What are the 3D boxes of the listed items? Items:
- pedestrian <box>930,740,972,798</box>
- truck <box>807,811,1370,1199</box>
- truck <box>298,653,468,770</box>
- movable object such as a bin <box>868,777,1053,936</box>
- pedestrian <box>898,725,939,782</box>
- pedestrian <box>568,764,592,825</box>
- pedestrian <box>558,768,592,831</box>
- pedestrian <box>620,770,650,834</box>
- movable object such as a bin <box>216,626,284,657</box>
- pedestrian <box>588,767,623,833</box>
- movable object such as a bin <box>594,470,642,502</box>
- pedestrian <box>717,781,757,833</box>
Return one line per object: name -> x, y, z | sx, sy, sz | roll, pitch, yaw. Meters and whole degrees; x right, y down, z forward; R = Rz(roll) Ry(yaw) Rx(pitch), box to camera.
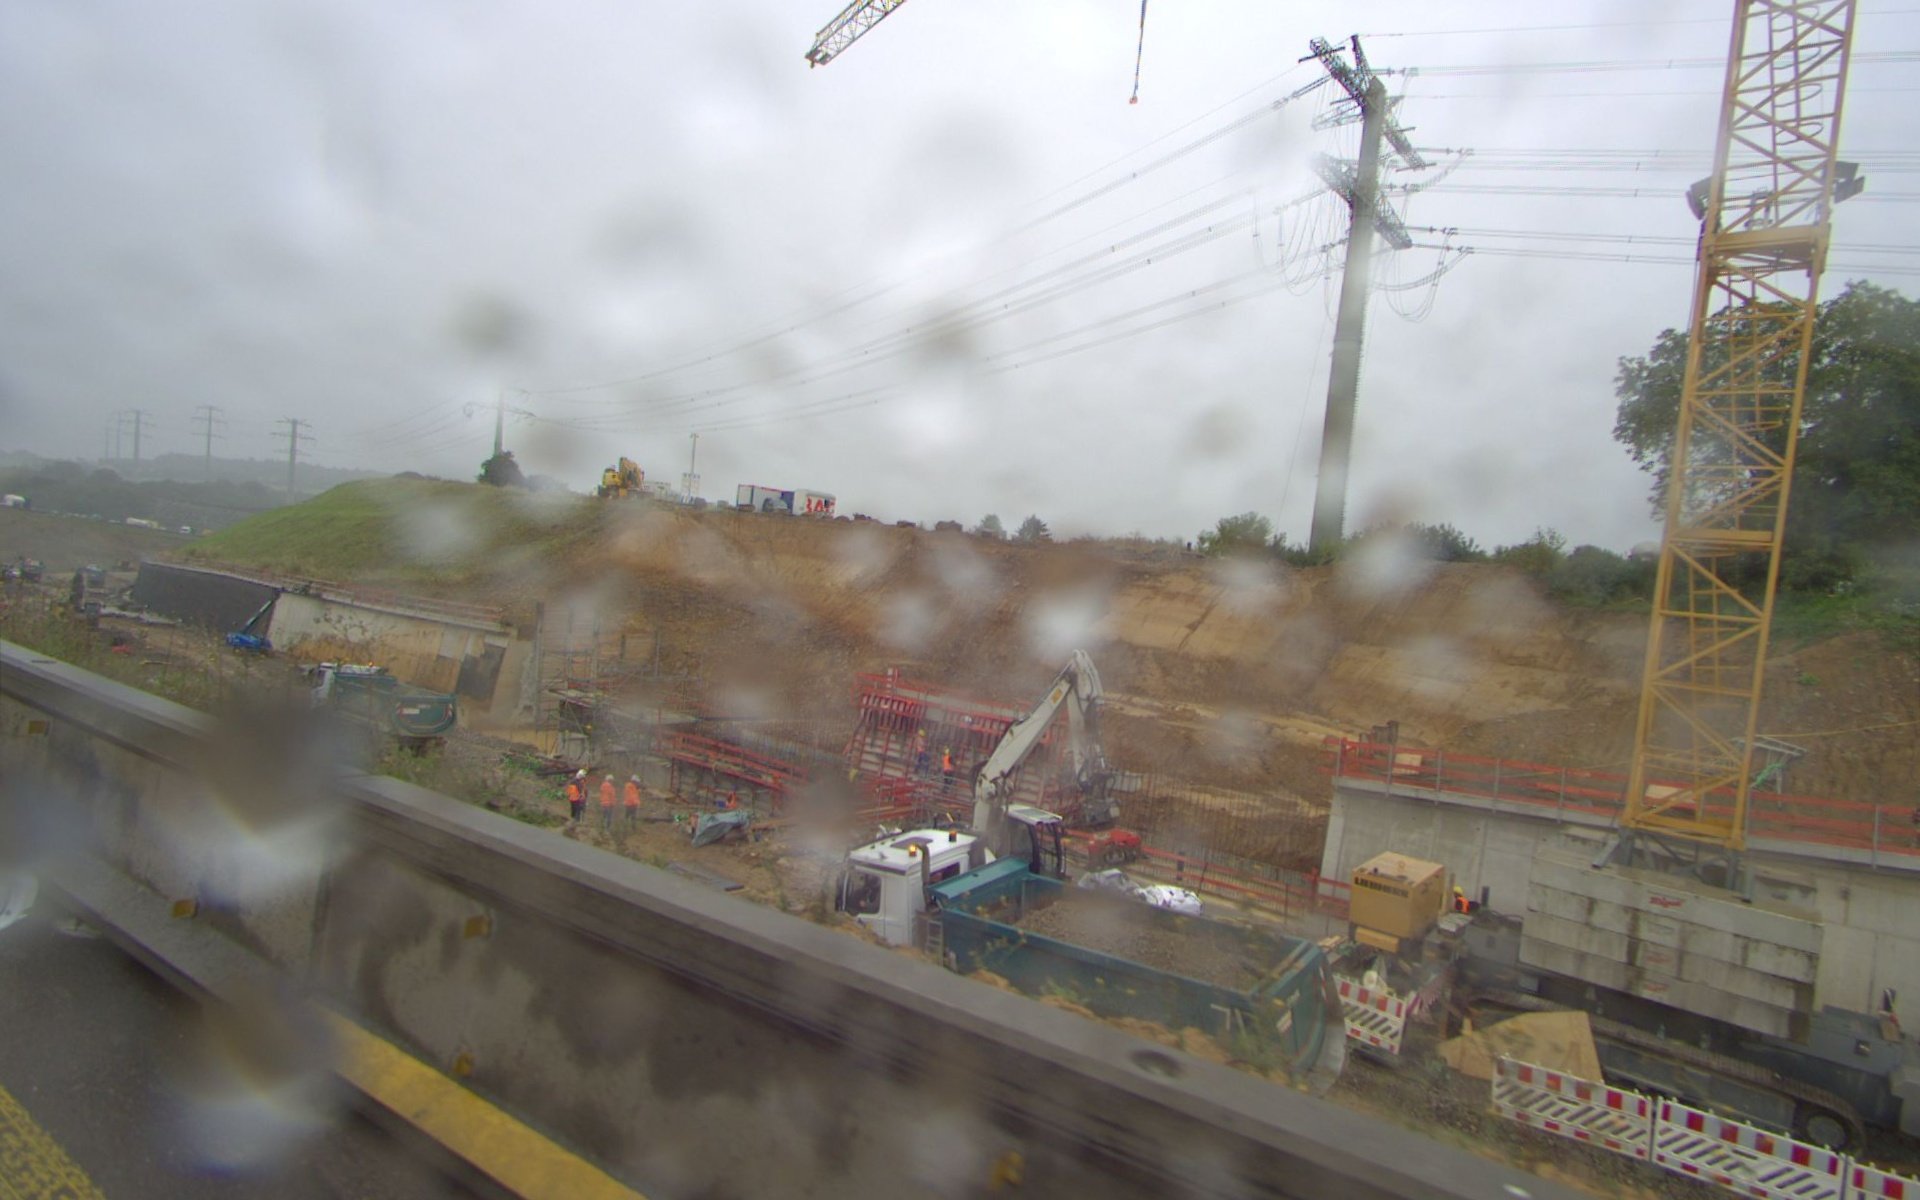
pedestrian -> -0.336, 6.570, 39.170 | 0.885, 2.013, 0.907 | 5, -11, 37
truck -> 1.654, 6.248, 16.647 | 8.816, 3.545, 2.699 | 6, -1, 39
truck -> -24.491, 4.546, 42.462 | 8.929, 3.532, 2.730 | 6, -1, 37
movable object such as a bin -> 0.067, 5.959, 24.035 | 2.920, 2.770, 3.154 | 6, -1, 33
pedestrian -> -1.639, 6.127, 40.209 | 0.885, 2.013, 0.907 | 5, -11, 37
pedestrian -> -12.759, 6.511, 33.773 | 0.567, 1.892, 0.732 | 7, 0, -21
pedestrian -> -12.578, 6.503, 32.845 | 0.724, 1.892, 0.573 | 6, 0, 39
pedestrian -> -10.695, 6.642, 33.064 | 0.725, 1.967, 0.573 | 7, 0, -20
movable object such as a bin -> -56.839, 3.334, 80.576 | 3.772, 2.036, 2.002 | 6, -3, -4
pedestrian -> -11.581, 6.528, 32.876 | 0.721, 1.967, 0.575 | 6, 0, 5
movable object such as a bin -> -32.495, -10.816, 95.573 | 3.911, 2.473, 2.427 | 8, 0, 40
pedestrian -> -9.667, 8.962, 43.577 | 0.892, 2.013, 0.901 | 6, -11, 36
